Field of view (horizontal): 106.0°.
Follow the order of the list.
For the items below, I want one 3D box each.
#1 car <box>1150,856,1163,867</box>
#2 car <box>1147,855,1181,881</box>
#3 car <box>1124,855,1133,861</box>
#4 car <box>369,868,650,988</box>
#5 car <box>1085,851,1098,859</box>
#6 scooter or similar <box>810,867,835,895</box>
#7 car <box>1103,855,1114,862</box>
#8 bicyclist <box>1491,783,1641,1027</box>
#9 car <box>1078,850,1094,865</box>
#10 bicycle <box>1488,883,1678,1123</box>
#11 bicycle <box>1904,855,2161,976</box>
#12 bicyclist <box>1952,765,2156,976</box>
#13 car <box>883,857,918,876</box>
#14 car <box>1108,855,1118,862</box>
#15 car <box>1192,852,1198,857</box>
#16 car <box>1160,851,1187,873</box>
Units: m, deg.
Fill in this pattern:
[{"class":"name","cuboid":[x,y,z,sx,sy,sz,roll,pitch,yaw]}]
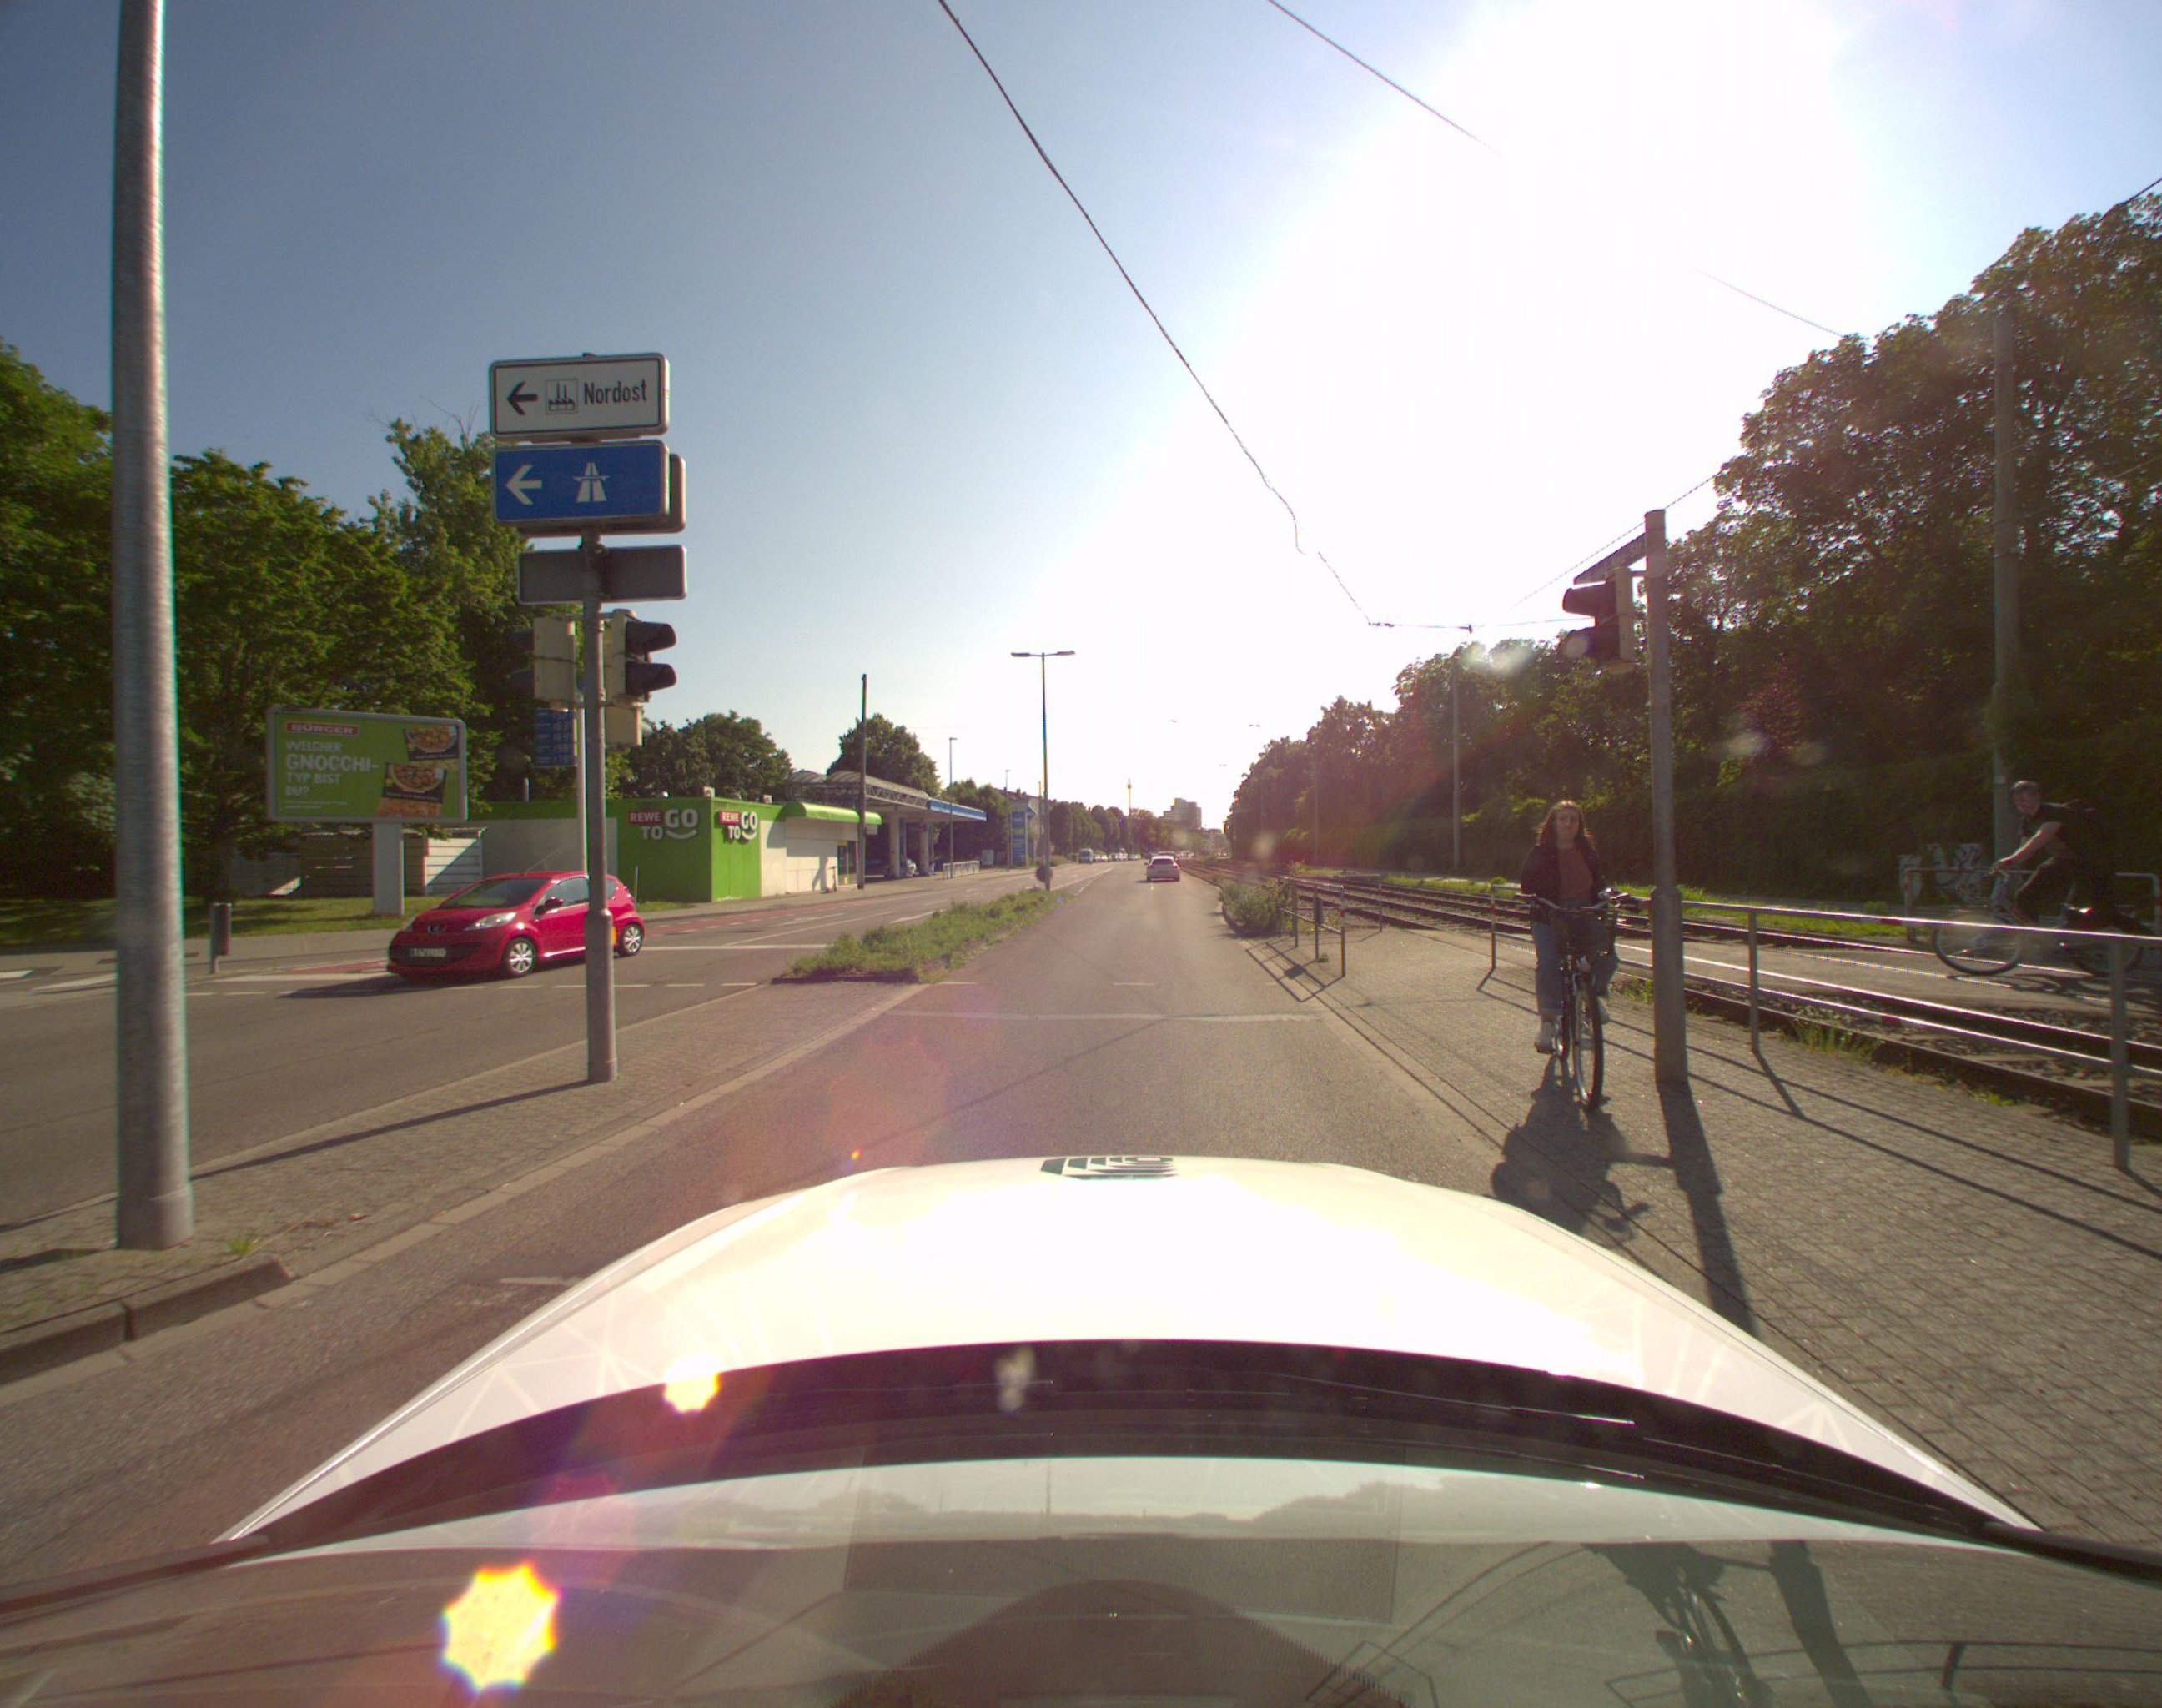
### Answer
[{"class":"car","cuboid":[11.002,1.059,118.814,1.740,1.485,3.606,0,0,5]},{"class":"car","cuboid":[4.545,0.759,45.125,1.773,1.356,3.605,0,0,4]},{"class":"car","cuboid":[12.069,0.909,205.631,1.983,1.416,3.851,-2,0,7]},{"class":"car","cuboid":[-8.166,0.976,12.028,1.566,1.417,3.338,-1,0,5]},{"class":"car","cuboid":[2.003,0.239,150.898,1.983,1.416,3.851,-2,0,7]},{"class":"scooter or similar","cuboid":[-11.666,1.204,36.774,0.529,1.174,1.313,4,1,8]},{"class":"car","cuboid":[5.812,1.002,172.886,1.983,1.416,3.851,-2,0,7]},{"class":"bicyclist","cuboid":[3.110,0.300,5.312,0.638,1.416,1.018,-1,0,20]},{"class":"car","cuboid":[0.847,0.560,135.216,1.982,2.376,4.548,-2,0,8]},{"class":"bicycle","cuboid":[3.096,0.805,5.214,0.638,1.154,1.947,-1,0,20]},{"class":"bicycle","cuboid":[9.901,0.593,8.313,1.903,1.115,0.953,-1,0,28]},{"class":"bicyclist","cuboid":[9.862,0.157,8.324,1.023,1.993,0.953,-1,0,28]},{"class":"car","cuboid":[-14.808,0.992,67.023,1.736,1.393,4.125,-2,0,3]},{"class":"car","cuboid":[7.185,1.089,184.393,1.983,1.416,3.851,-2,0,7]},{"class":"car","cuboid":[35.884,0.274,256.358,1.713,1.593,3.611,0,0,10]},{"class":"car","cuboid":[7.110,0.604,62.673,1.718,1.593,3.601,0,0,0]}]
